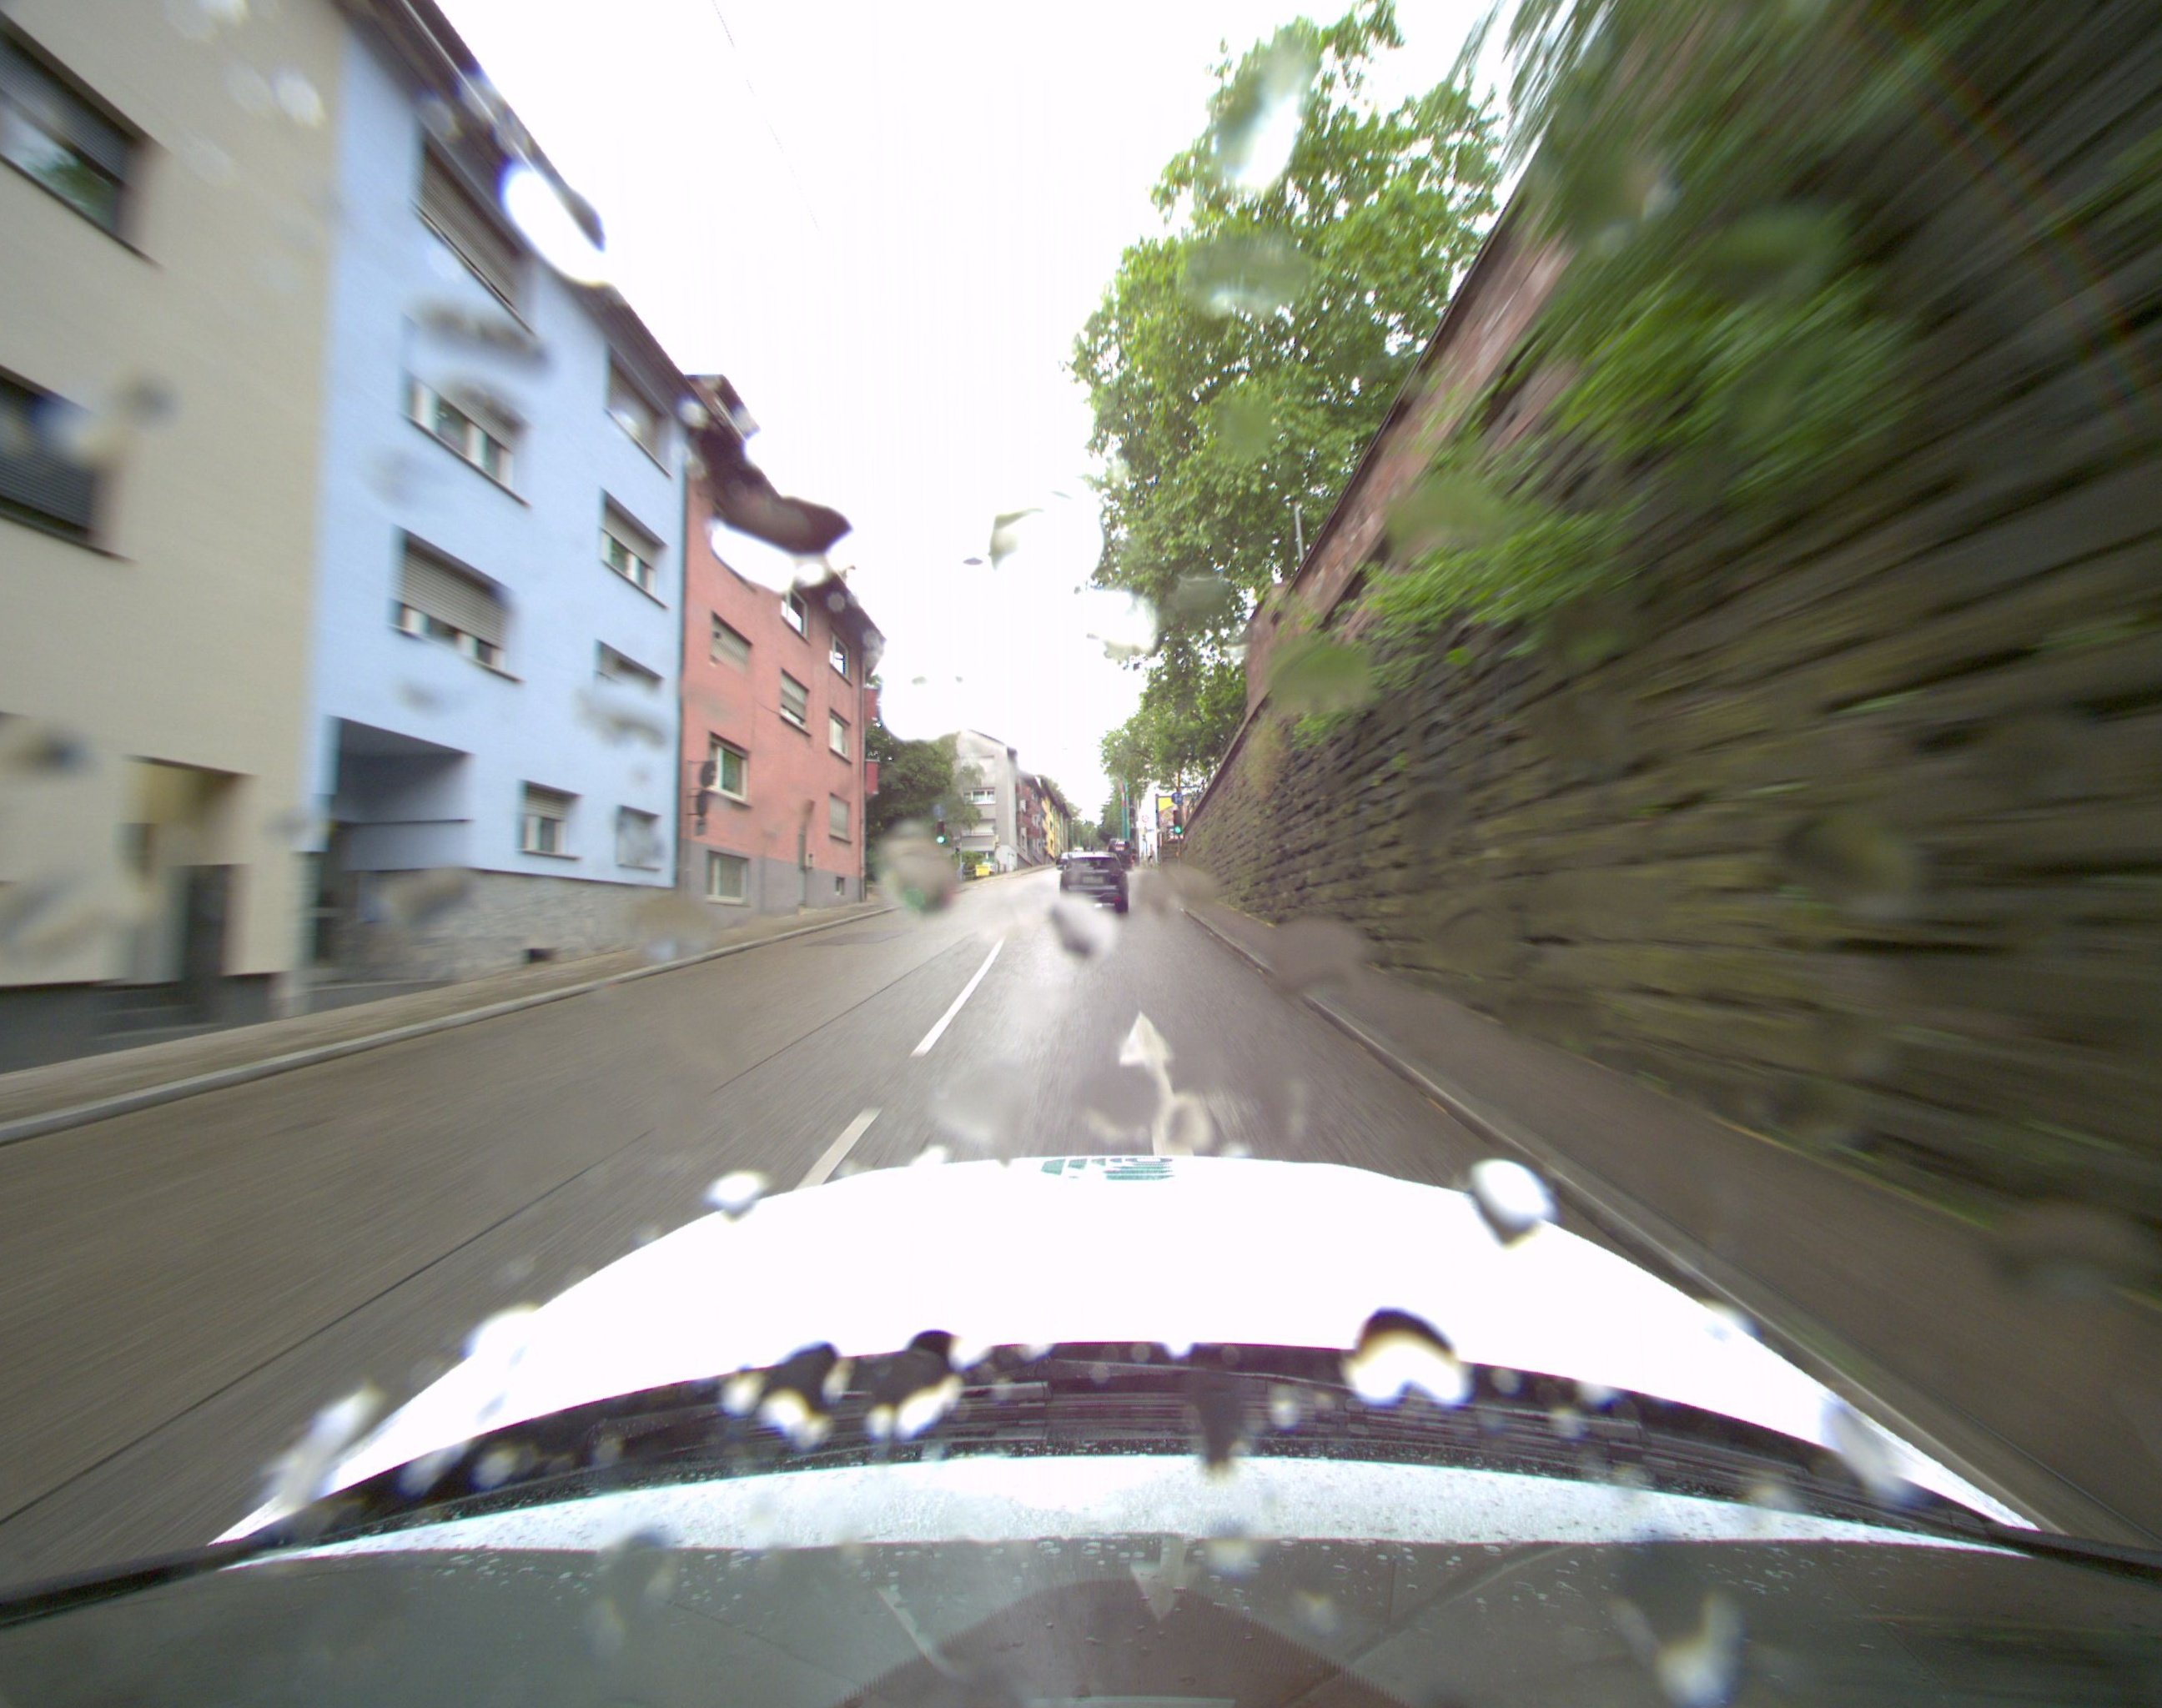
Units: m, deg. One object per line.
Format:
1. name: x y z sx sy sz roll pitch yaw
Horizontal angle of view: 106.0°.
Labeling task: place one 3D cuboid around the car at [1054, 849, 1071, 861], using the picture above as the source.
1. car: -2.587 0.122 114.749 1.985 1.650 4.447 -2 1 4

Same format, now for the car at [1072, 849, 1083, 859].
1. car: -0.642 -0.002 154.605 1.984 1.585 4.305 -2 1 1

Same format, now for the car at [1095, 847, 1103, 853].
1. car: 4.724 -0.997 219.713 2.067 1.559 4.000 -1 1 1

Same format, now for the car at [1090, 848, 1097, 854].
1. car: 3.780 -0.907 247.560 2.067 1.559 4.000 -1 1 1

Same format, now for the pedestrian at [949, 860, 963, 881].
1. pedestrian: -9.230 1.208 60.150 0.867 1.541 1.087 0 -2 -2

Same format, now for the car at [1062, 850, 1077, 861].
1. car: -1.868 0.208 131.142 1.985 1.650 4.447 -2 1 4

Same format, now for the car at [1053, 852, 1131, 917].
1. car: 0.344 0.767 22.790 1.986 1.559 4.002 -1 1 2

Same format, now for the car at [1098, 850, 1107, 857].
1. car: 5.023 -0.180 191.060 2.067 1.559 4.000 -1 1 1

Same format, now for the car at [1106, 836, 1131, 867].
1. car: 3.103 -0.159 67.237 1.985 2.414 5.840 -1 -2 3

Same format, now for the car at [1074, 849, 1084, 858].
1. car: -0.356 -0.083 160.901 1.984 1.755 4.480 -2 1 1
